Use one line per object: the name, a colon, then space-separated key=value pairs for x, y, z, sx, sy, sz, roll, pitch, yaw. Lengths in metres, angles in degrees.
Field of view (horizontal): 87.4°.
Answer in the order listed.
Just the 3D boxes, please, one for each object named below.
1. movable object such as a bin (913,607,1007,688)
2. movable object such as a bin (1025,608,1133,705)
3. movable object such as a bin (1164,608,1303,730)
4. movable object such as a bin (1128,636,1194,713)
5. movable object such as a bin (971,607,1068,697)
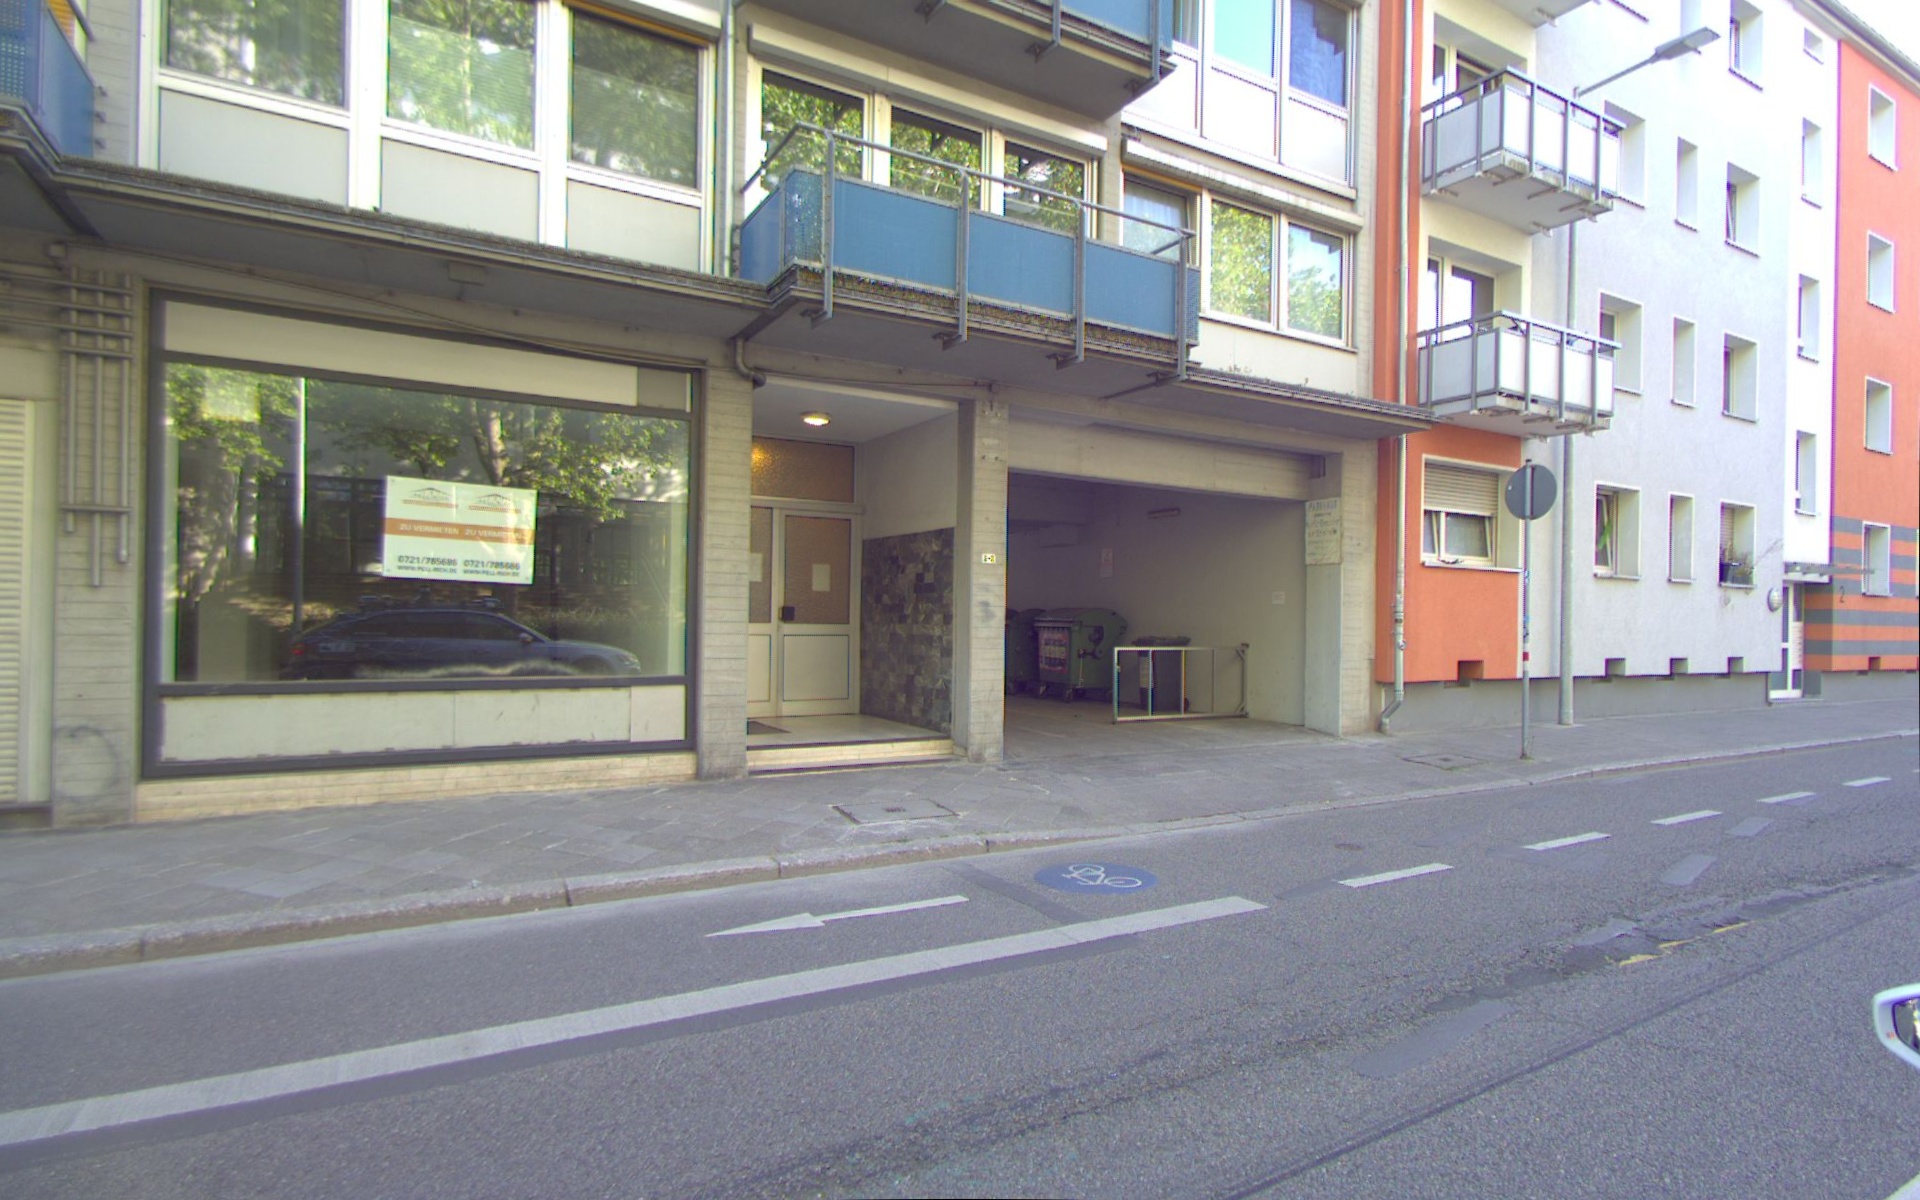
movable object such as a bin: x=-0.022 y=0.859 z=18.888 sx=1.119 sy=1.449 sz=1.666 roll=1 pitch=0 yaw=-28
movable object such as a bin: x=1.857 y=0.856 z=15.862 sx=1.128 sy=1.449 sz=1.342 roll=1 pitch=0 yaw=-28
movable object such as a bin: x=3.498 y=0.844 z=12.914 sx=1.119 sy=1.449 sz=1.322 roll=1 pitch=0 yaw=-28
movable object such as a bin: x=2.907 y=1.068 z=14.544 sx=0.695 sy=1.055 sz=0.593 roll=2 pitch=0 yaw=-30
movable object such as a bin: x=1.006 y=0.862 z=17.185 sx=1.119 sy=1.449 sz=1.322 roll=1 pitch=0 yaw=-28
